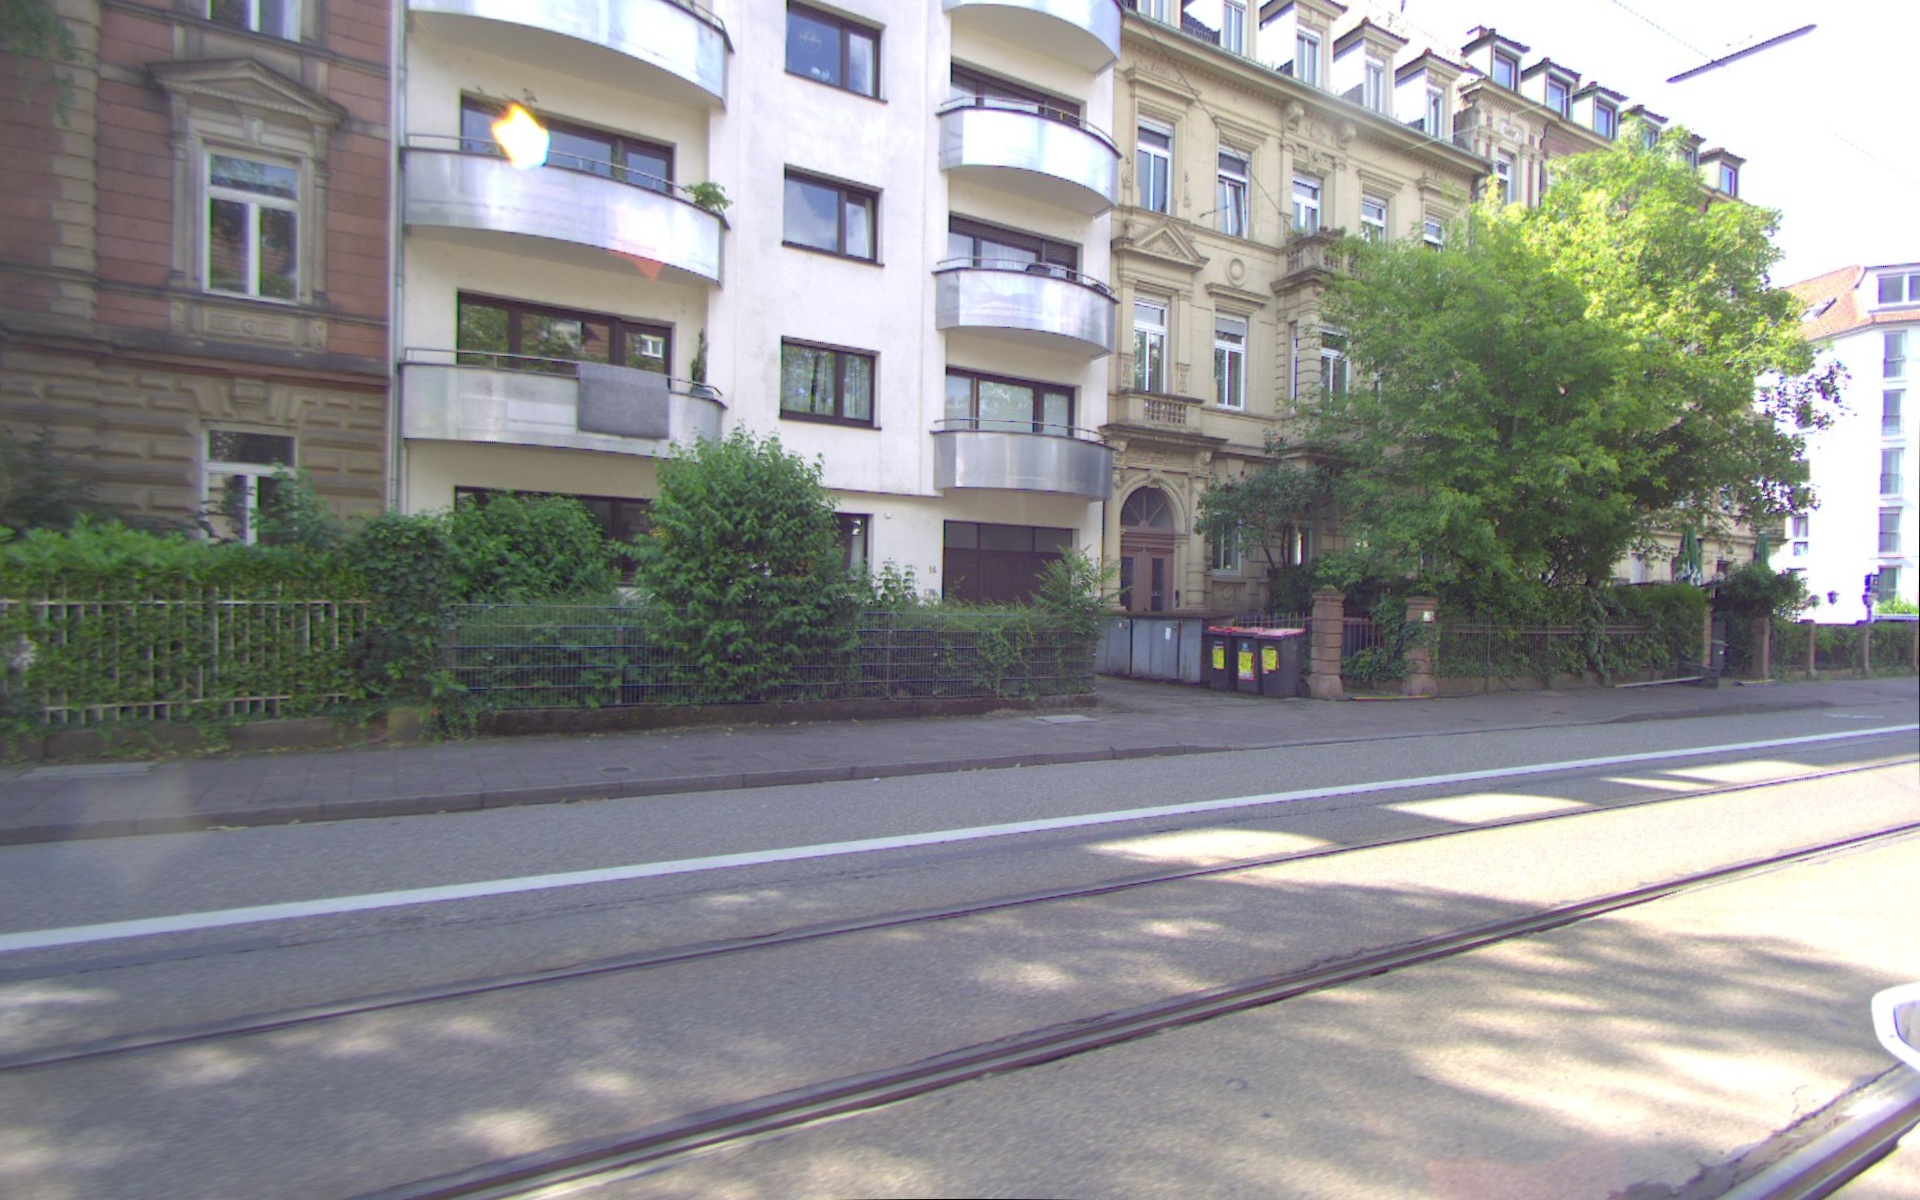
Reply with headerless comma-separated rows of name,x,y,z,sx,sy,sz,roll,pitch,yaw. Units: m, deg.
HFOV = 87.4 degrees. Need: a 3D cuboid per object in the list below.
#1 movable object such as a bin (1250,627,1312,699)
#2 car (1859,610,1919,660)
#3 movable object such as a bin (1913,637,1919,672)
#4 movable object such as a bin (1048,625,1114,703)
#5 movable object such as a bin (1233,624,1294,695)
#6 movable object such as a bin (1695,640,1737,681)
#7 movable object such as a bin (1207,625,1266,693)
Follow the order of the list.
movable object such as a bin,5.116,0.989,16.006,0.779,1.109,0.536,1,0,-26
car,40.816,1.477,41.936,2.009,2.040,4.671,1,0,-8
movable object such as a bin,27.994,1.577,28.743,1.101,1.001,0.741,1,2,-31
movable object such as a bin,1.782,0.943,14.854,0.780,1.109,0.535,2,-1,-30
movable object such as a bin,5.004,0.966,16.563,0.779,1.123,0.547,1,0,-26
movable object such as a bin,17.122,1.366,22.738,0.609,0.888,0.559,1,0,-30
movable object such as a bin,4.690,0.991,17.042,0.779,1.123,0.547,1,0,-26
